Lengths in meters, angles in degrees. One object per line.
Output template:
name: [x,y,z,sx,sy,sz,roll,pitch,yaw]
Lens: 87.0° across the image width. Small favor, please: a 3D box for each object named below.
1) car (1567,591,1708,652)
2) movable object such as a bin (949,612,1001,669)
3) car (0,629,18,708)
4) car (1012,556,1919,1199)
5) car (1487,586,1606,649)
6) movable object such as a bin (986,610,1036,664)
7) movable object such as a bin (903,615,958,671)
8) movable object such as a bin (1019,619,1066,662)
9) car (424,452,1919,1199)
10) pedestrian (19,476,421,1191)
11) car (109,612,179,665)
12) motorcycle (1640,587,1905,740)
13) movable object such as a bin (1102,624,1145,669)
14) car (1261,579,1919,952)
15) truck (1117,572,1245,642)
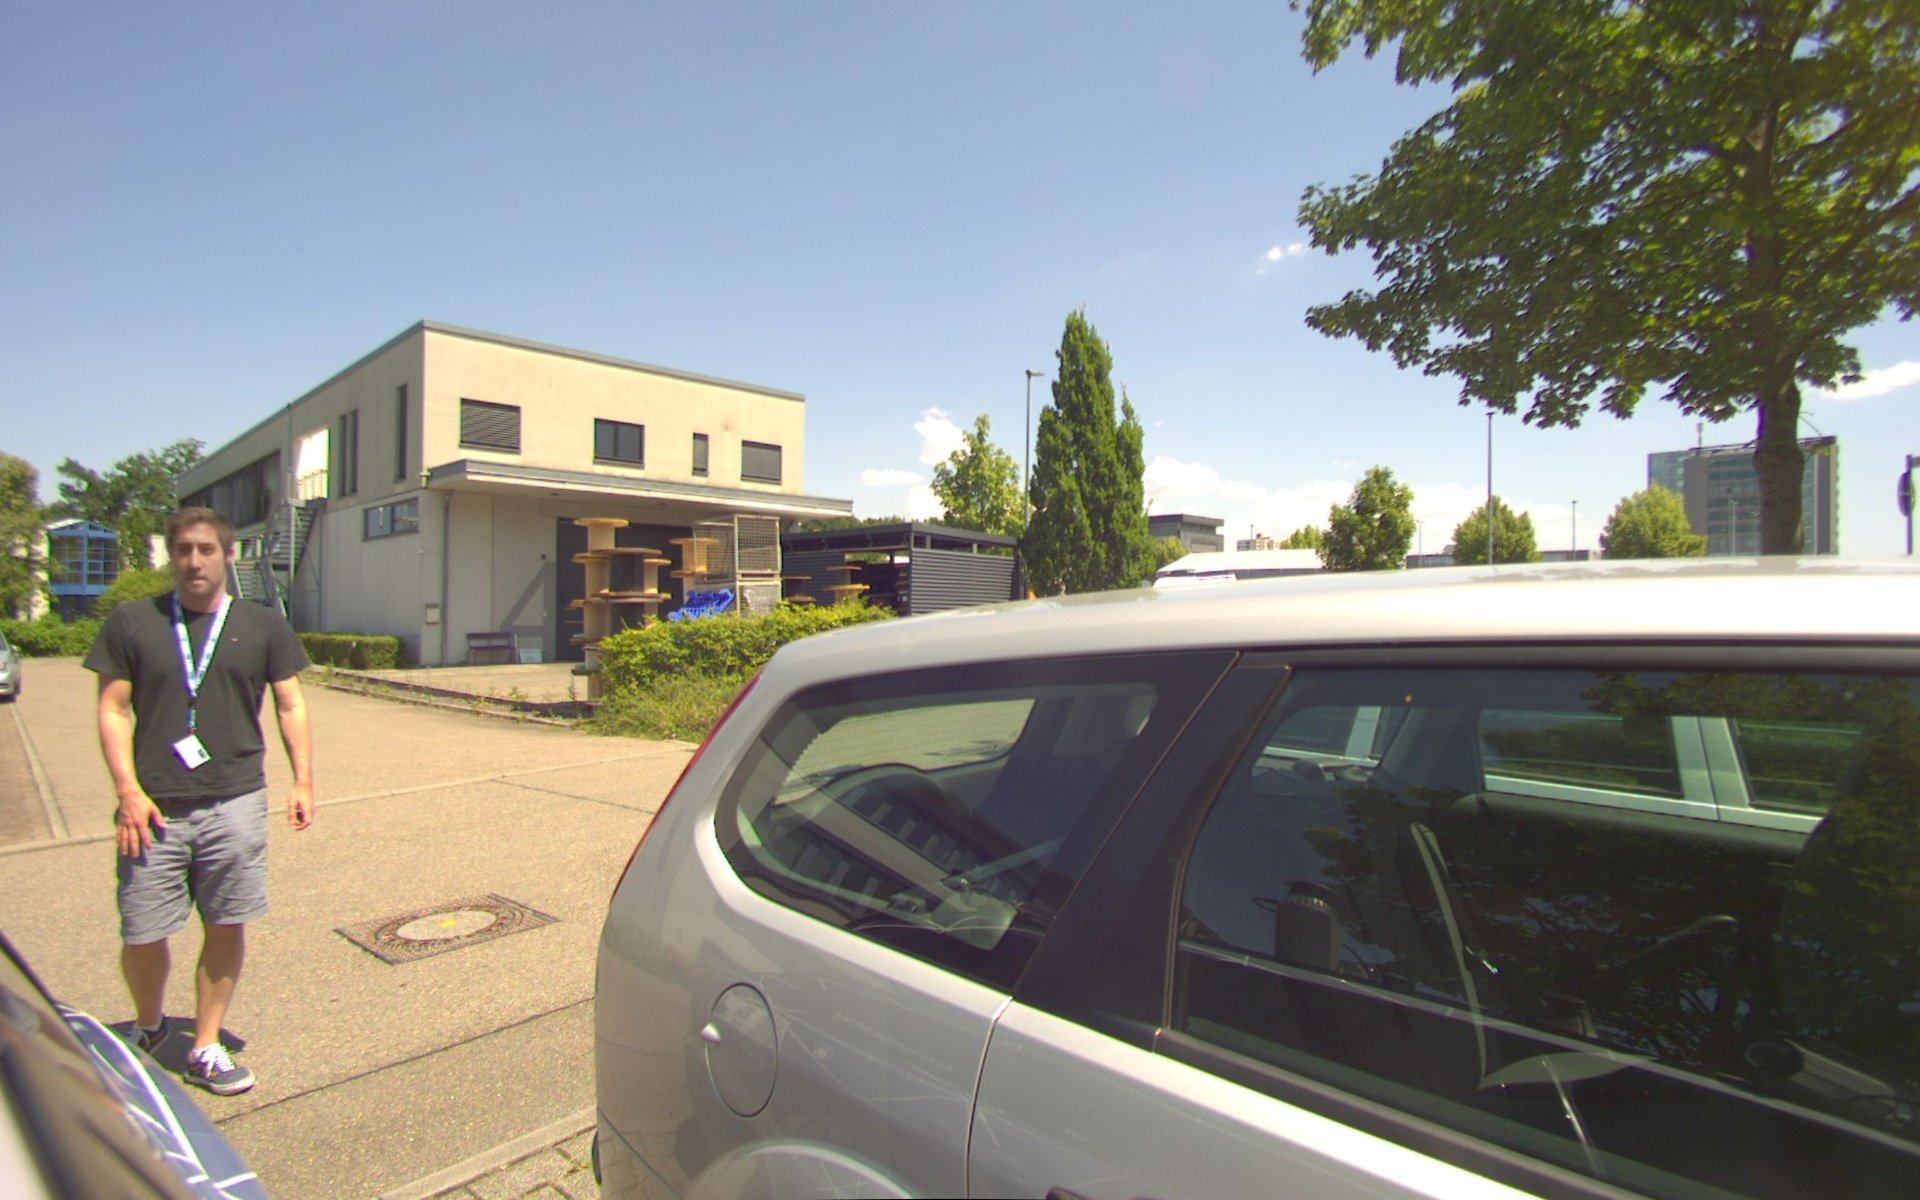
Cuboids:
car: [18.559,0.555,27.704,3.932,1.533,1.658,-1,0,-31]
movable object such as a bin: [0.373,0.988,25.111,1.056,1.346,0.761,-1,-1,-40]
car: [-19.115,1.269,19.195,1.686,1.402,3.816,1,-1,-41]
car: [2.223,0.654,3.106,3.886,1.490,1.632,-1,-1,38]
car: [17.365,0.475,29.917,3.936,1.751,1.776,-1,0,-39]
movable object such as a bin: [1.314,0.943,26.056,1.056,1.346,0.761,-1,-1,-40]
movable object such as a bin: [-0.705,1.020,24.334,1.056,1.280,0.761,-1,-1,-40]
movable object such as a bin: [2.168,1.059,26.736,0.972,1.092,0.761,-1,-1,-40]
car: [1.272,0.659,0.985,4.346,1.490,1.702,-1,-1,41]
pedestrian: [-2.355,0.603,3.225,0.904,1.834,0.849,-2,-1,41]
car: [-30.095,1.368,37.280,1.761,1.817,4.004,-1,0,-43]
motorcycle: [7.990,0.603,10.069,1.986,1.400,0.478,-2,-1,38]
movable object such as a bin: [3.711,1.052,23.013,0.581,0.977,0.761,-1,-1,-40]
car: [3.696,0.654,5.036,3.886,1.459,1.632,-1,-1,38]
truck: [9.156,0.273,41.614,5.614,2.692,2.420,-1,-1,-45]
